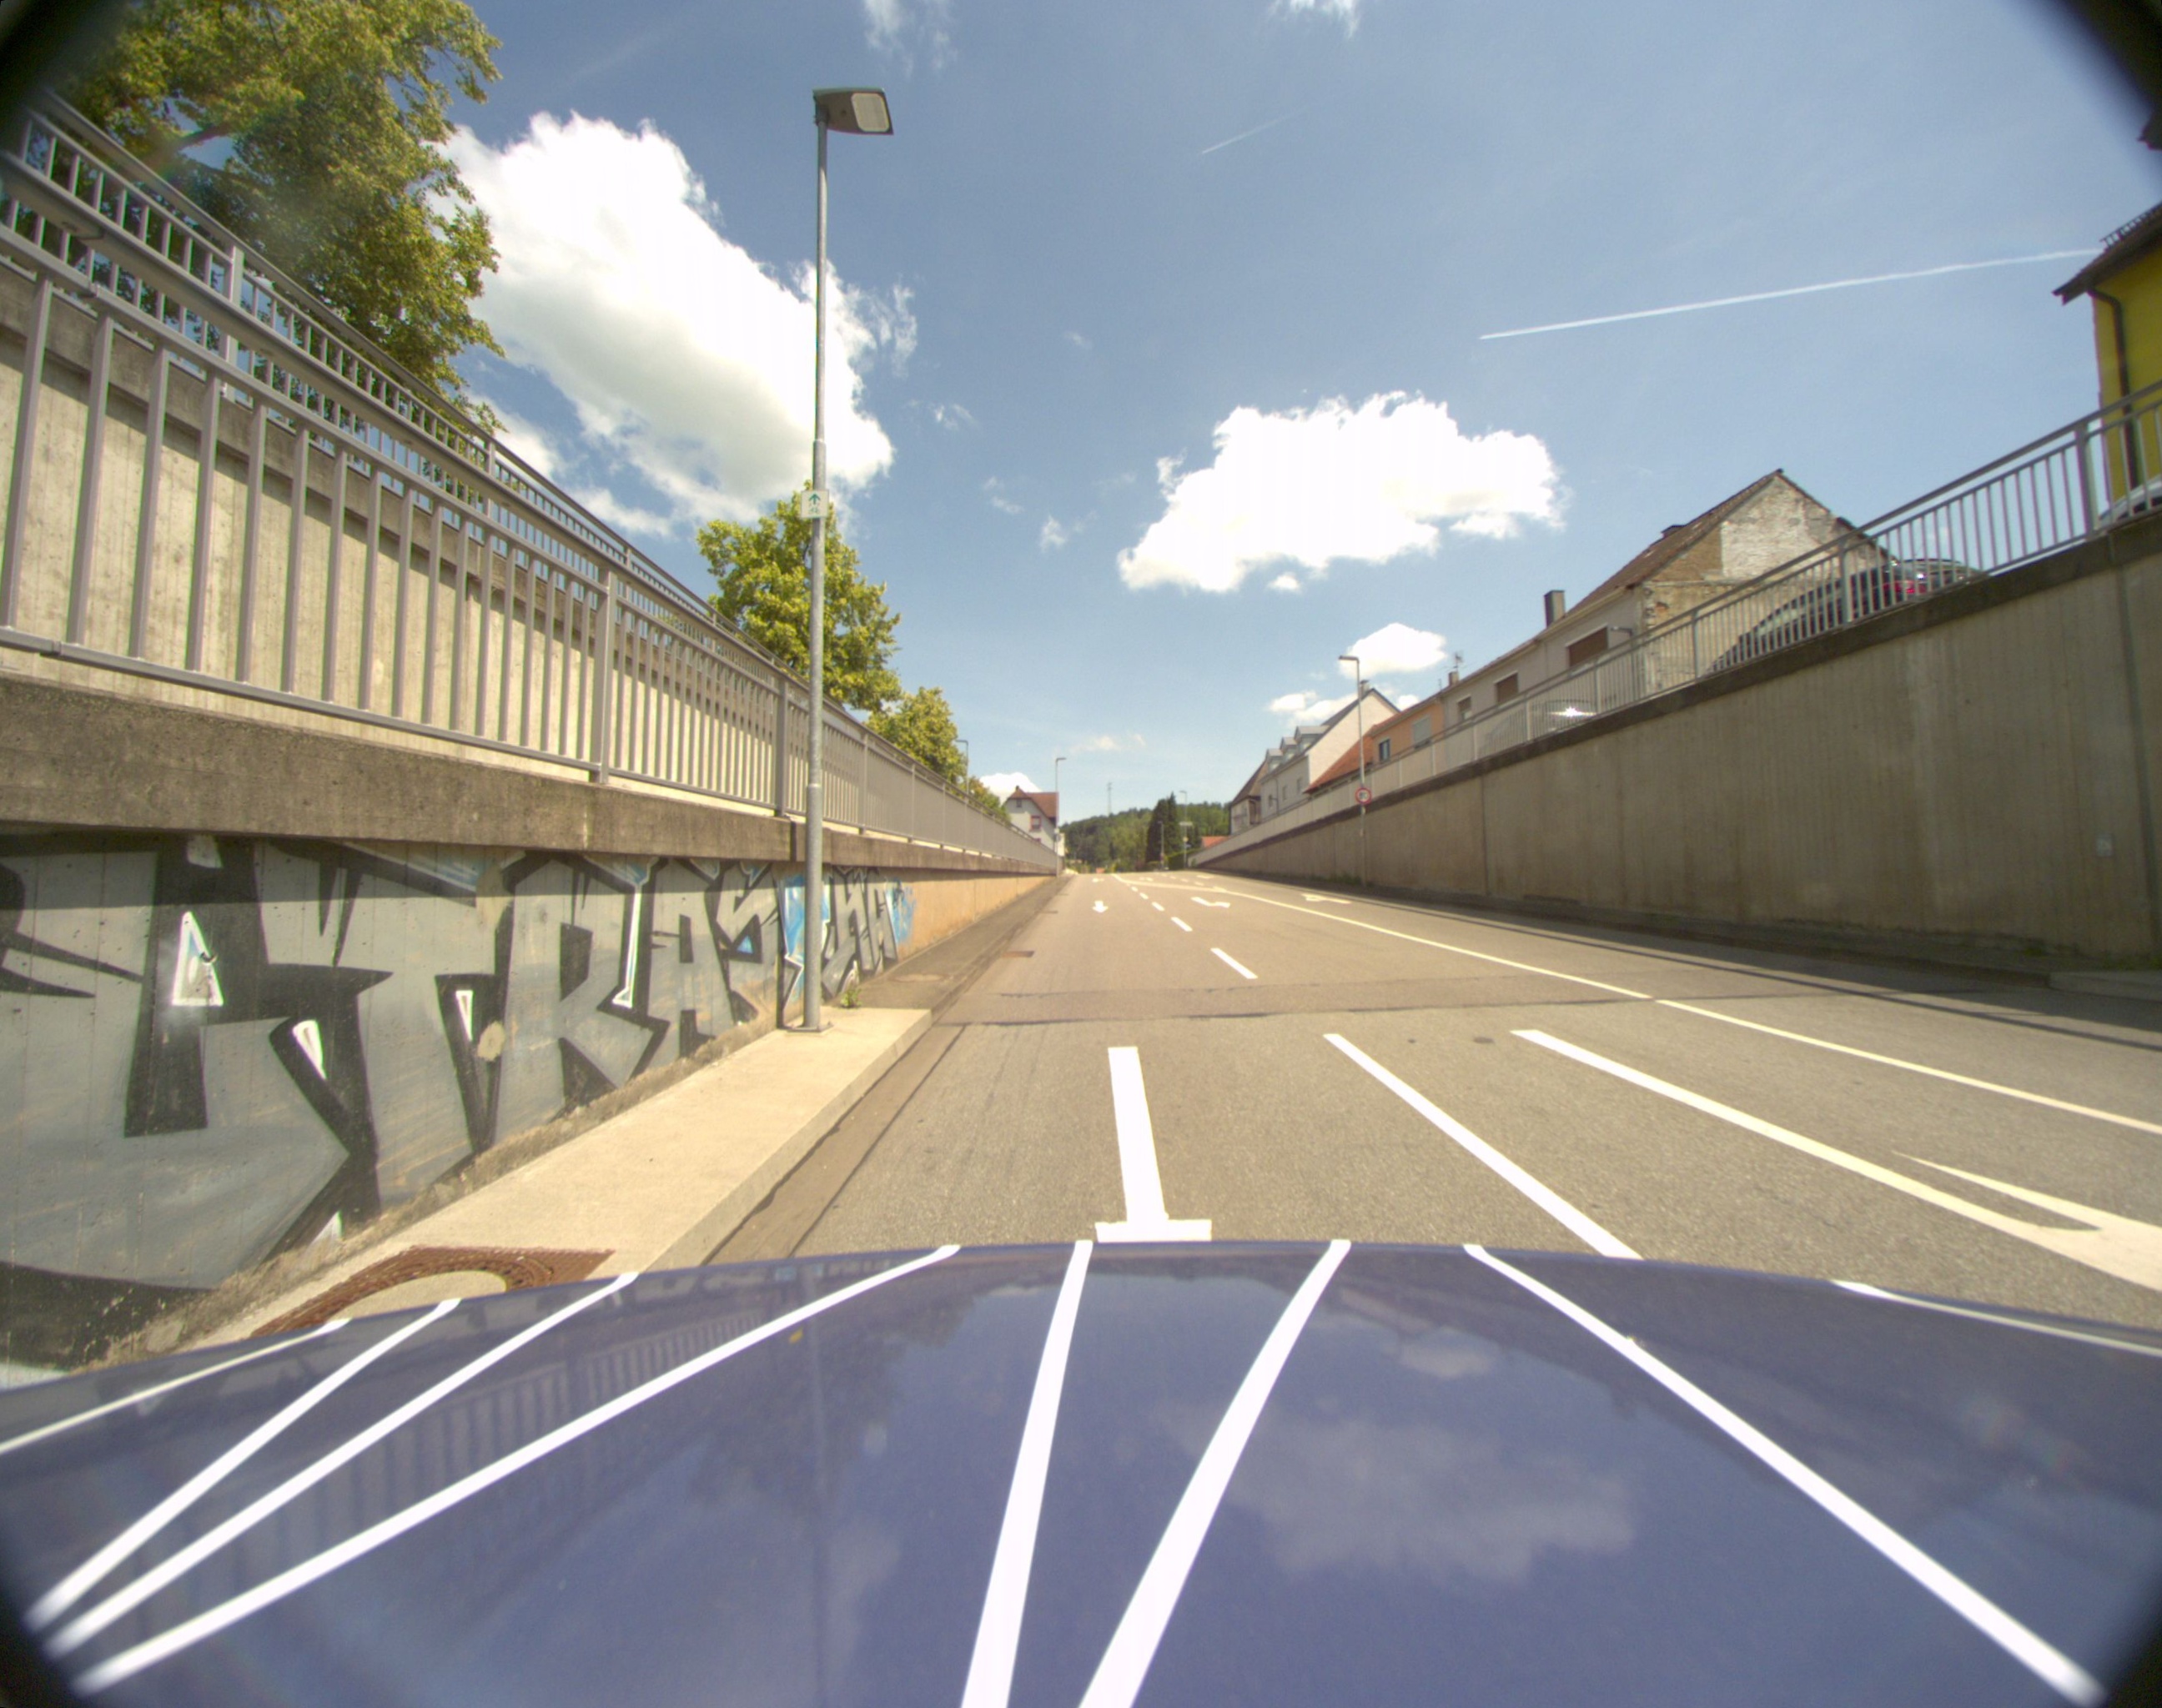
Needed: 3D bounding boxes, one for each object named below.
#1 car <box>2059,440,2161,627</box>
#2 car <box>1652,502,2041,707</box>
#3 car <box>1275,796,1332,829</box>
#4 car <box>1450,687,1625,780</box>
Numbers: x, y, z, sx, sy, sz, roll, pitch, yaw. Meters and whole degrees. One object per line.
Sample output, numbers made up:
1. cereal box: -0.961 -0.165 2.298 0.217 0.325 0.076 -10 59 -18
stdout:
1. car: 12.056 -3.476 6.585 1.907 1.657 4.001 -1 -2 -1
2. car: 11.650 -3.696 12.104 1.827 1.695 4.223 -1 -2 -1
3. car: 12.277 -2.267 42.231 1.790 1.396 4.394 -1 -2 -1
4. car: 11.587 -2.997 19.717 1.803 1.515 4.394 -1 -2 -1
